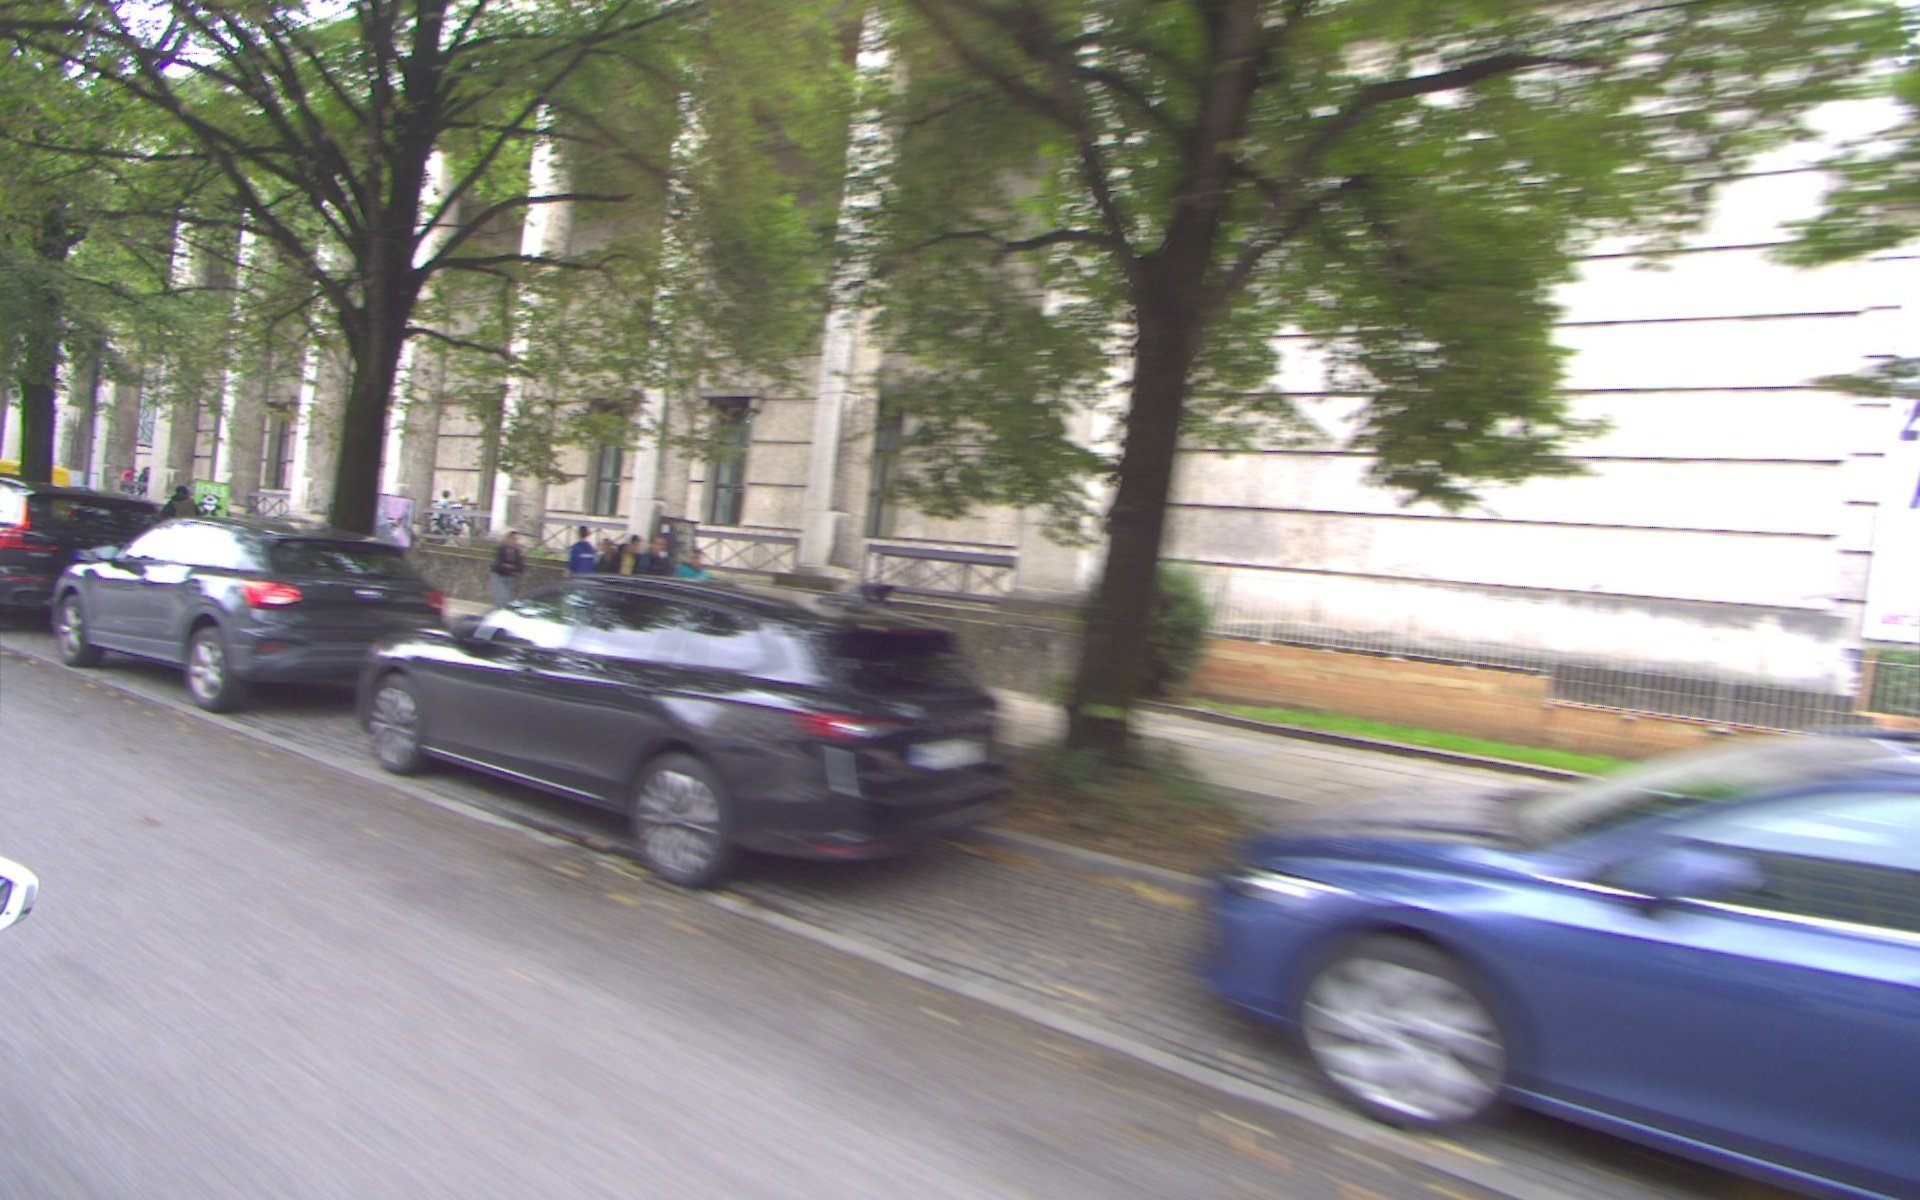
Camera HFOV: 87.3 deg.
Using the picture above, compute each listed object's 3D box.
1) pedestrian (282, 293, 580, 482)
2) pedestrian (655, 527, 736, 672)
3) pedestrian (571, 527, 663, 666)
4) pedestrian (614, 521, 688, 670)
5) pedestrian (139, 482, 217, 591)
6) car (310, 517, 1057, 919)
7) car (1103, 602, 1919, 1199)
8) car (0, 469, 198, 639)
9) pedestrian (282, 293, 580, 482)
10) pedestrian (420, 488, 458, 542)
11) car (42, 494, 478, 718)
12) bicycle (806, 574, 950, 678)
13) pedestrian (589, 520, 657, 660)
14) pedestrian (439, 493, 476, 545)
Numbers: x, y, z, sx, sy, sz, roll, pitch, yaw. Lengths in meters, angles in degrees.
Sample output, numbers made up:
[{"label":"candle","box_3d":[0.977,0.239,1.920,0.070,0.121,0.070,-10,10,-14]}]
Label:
[{"label":"pedestrian","box_3d":[-7.793,-3.015,14.767,3.934,2.037,1.997,7,-1,32]},{"label":"pedestrian","box_3d":[-3.723,-0.004,14.157,0.685,1.933,0.645,8,0,-37]},{"label":"pedestrian","box_3d":[-5.100,-0.045,14.989,0.758,1.933,0.780,7,0,32]},{"label":"pedestrian","box_3d":[-4.175,-0.068,13.582,0.526,1.933,0.645,8,0,-39]},{"label":"pedestrian","box_3d":[-14.864,-1.204,19.136,0.758,1.933,0.780,7,0,32]},{"label":"car","box_3d":[-1.943,0.461,6.311,4.697,1.483,1.726,7,0,33]},{"label":"car","box_3d":[2.973,1.064,3.364,4.510,1.569,1.726,7,1,33]},{"label":"car","box_3d":[-11.269,-0.659,12.172,4.514,1.686,1.726,7,1,33]},{"label":"pedestrian","box_3d":[-7.793,-3.015,14.767,3.934,2.037,1.997,7,-1,32]},{"label":"pedestrian","box_3d":[-14.702,-2.395,28.391,0.635,1.390,0.567,7,0,32]},{"label":"car","box_3d":[-6.479,-0.007,9.209,3.962,1.483,1.824,7,0,33]},{"label":"bicycle","box_3d":[-1.377,0.415,16.615,2.261,1.433,0.700,7,1,32]},{"label":"pedestrian","box_3d":[-4.859,-0.151,14.504,0.526,1.933,0.645,8,0,-39]},{"label":"pedestrian","box_3d":[-14.611,-2.358,29.229,0.635,1.390,0.567,7,0,32]}]
